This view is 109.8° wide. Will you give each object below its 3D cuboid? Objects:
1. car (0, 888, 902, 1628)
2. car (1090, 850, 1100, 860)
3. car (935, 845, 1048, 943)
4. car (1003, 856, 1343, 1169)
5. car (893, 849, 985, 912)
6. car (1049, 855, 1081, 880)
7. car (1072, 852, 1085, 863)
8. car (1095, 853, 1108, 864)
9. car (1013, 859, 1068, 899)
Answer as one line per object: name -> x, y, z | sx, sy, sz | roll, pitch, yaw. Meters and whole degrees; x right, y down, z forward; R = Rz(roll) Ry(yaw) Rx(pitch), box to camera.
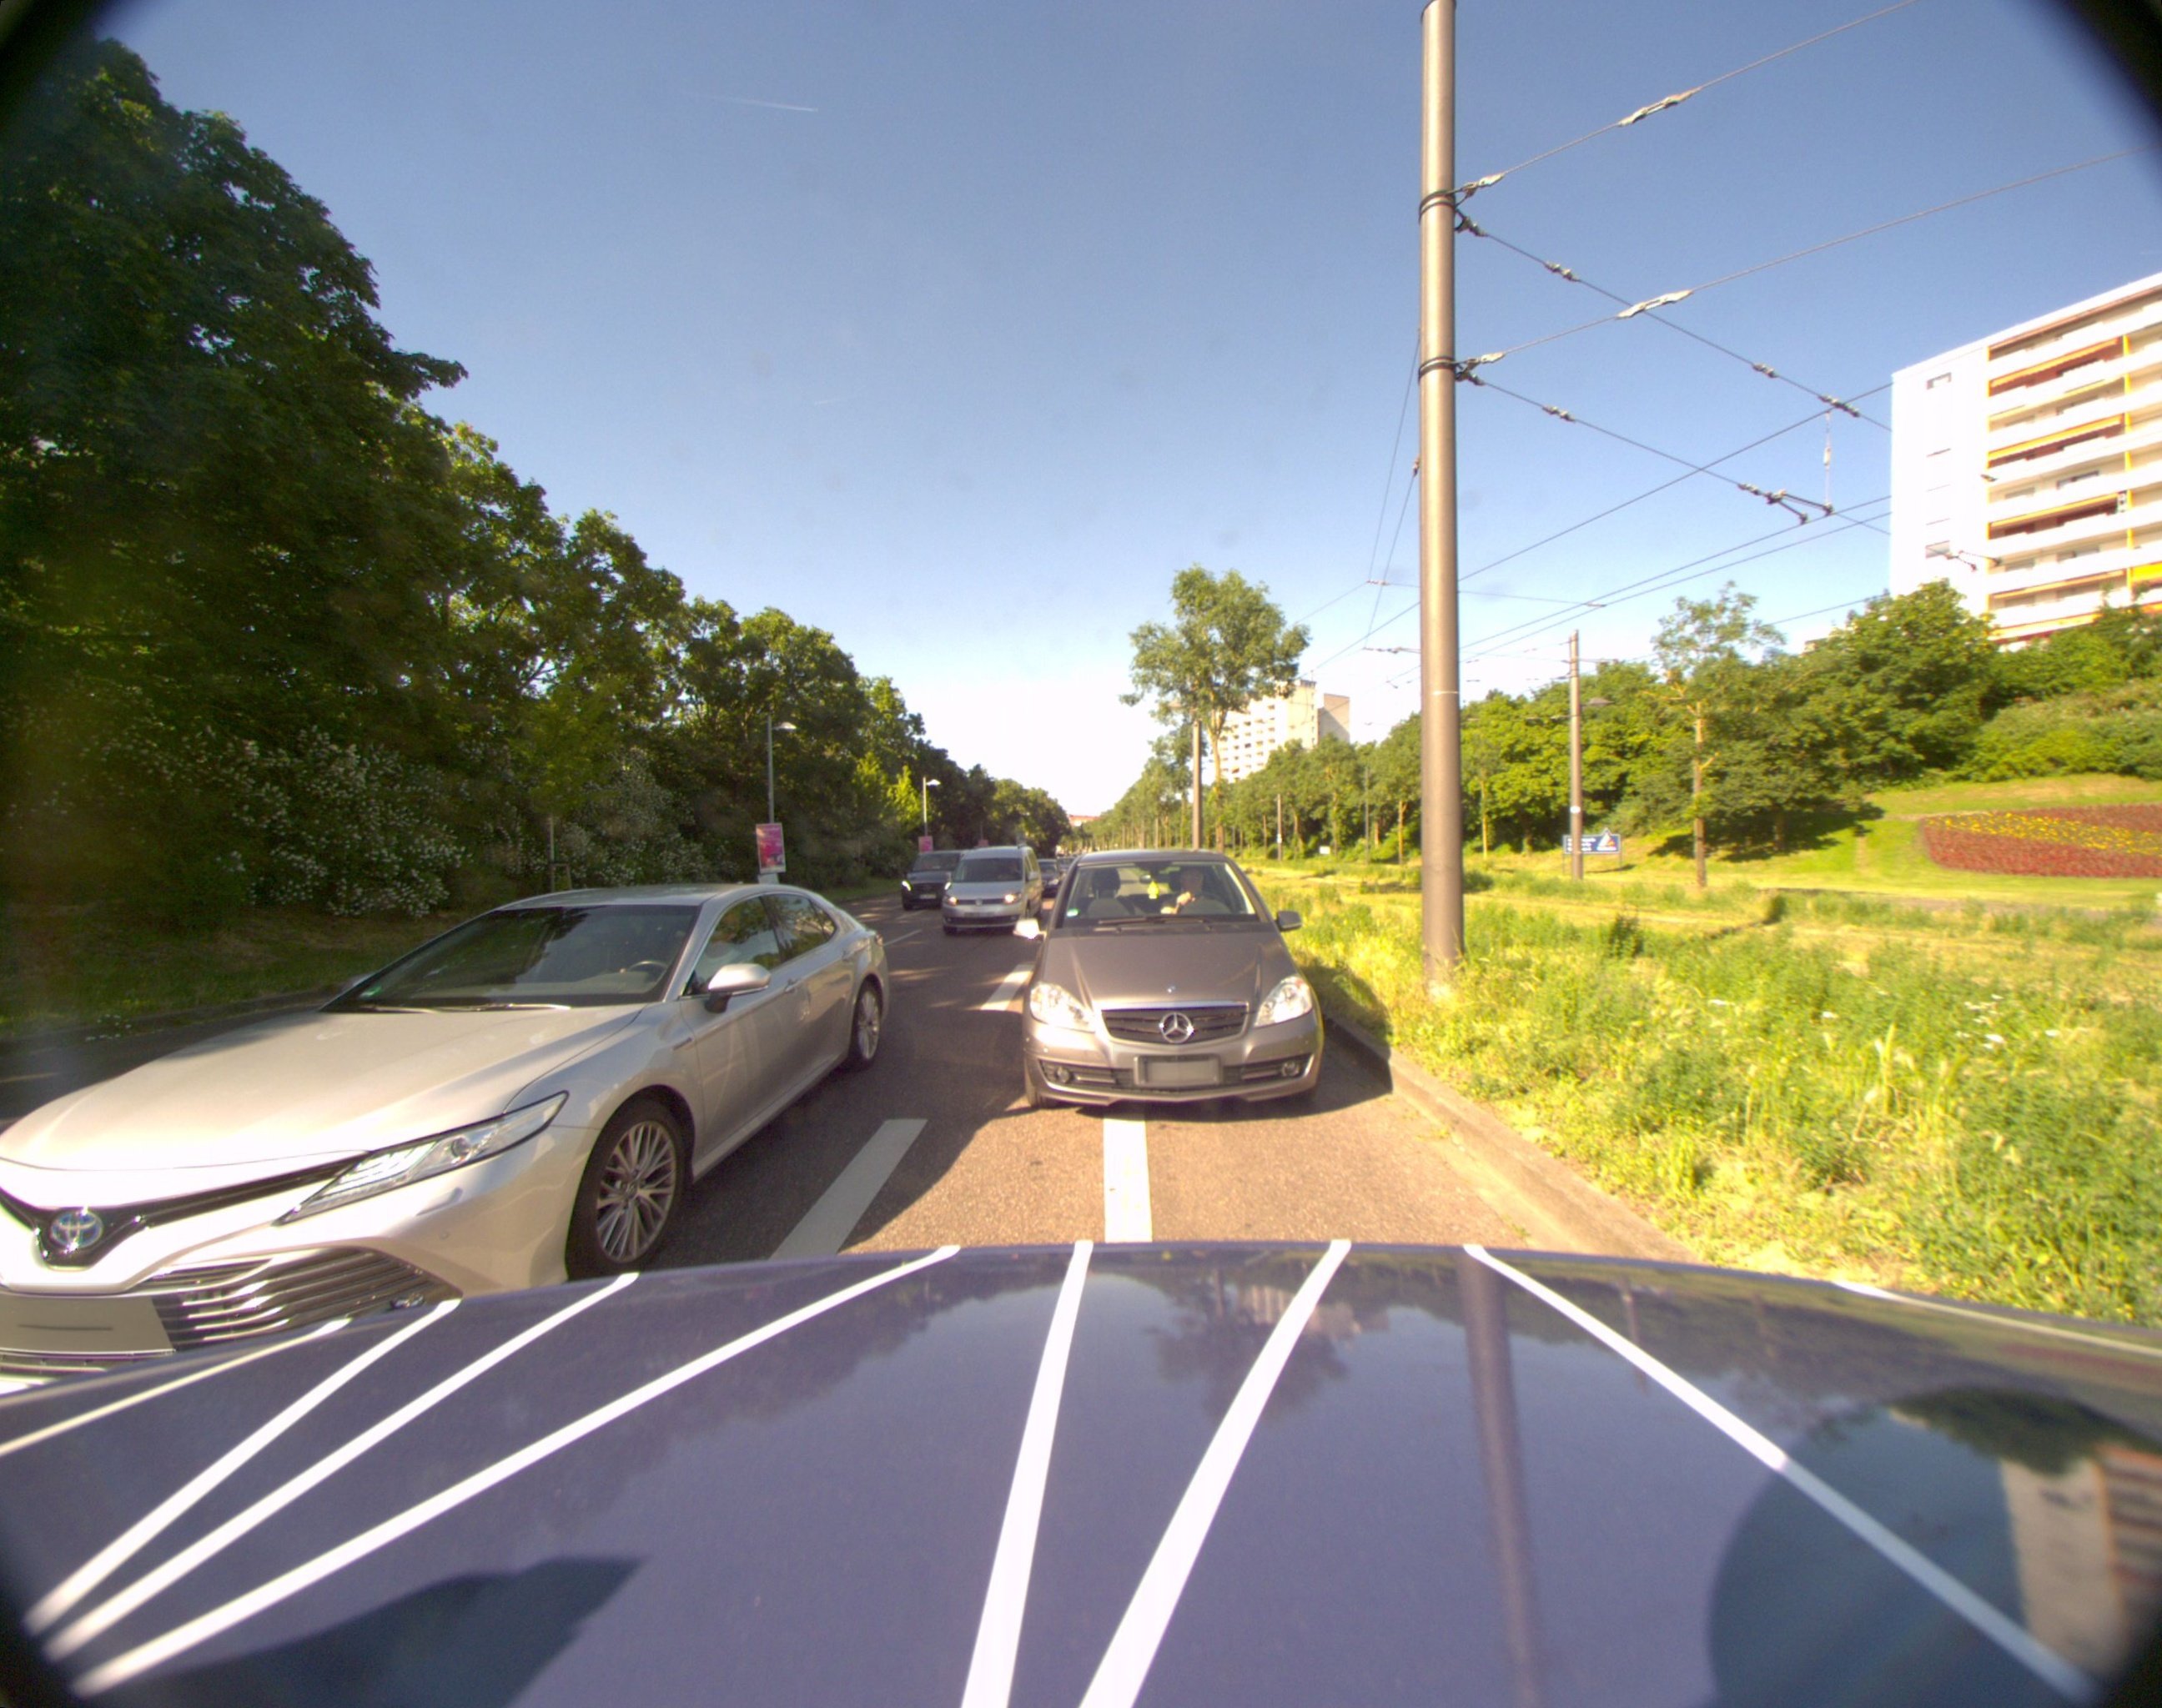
car -> -2.644, 1.043, 4.122 | 2.069, 1.451, 4.749 | -1, 0, 2
car -> 2.434, 0.144, 133.252 | 1.777, 1.597, 4.384 | -1, 0, 1
car -> -1.846, 0.765, 17.135 | 1.822, 1.893, 4.622 | -1, 0, 2
car -> 0.516, 0.850, 6.206 | 1.777, 1.597, 4.384 | -1, 0, 1
car -> -4.646, 0.789, 25.698 | 1.998, 1.882, 5.148 | -1, 0, 1
car -> -0.933, 0.800, 46.956 | 1.776, 1.395, 4.067 | -1, 0, 2
car -> -0.365, 0.483, 114.250 | 1.777, 1.597, 4.384 | -1, 0, 1
car -> 3.074, 0.710, 115.038 | 1.777, 1.597, 4.384 | -1, 0, 1
car -> -1.489, 0.912, 29.566 | 1.776, 1.395, 4.067 | -1, 0, 2
